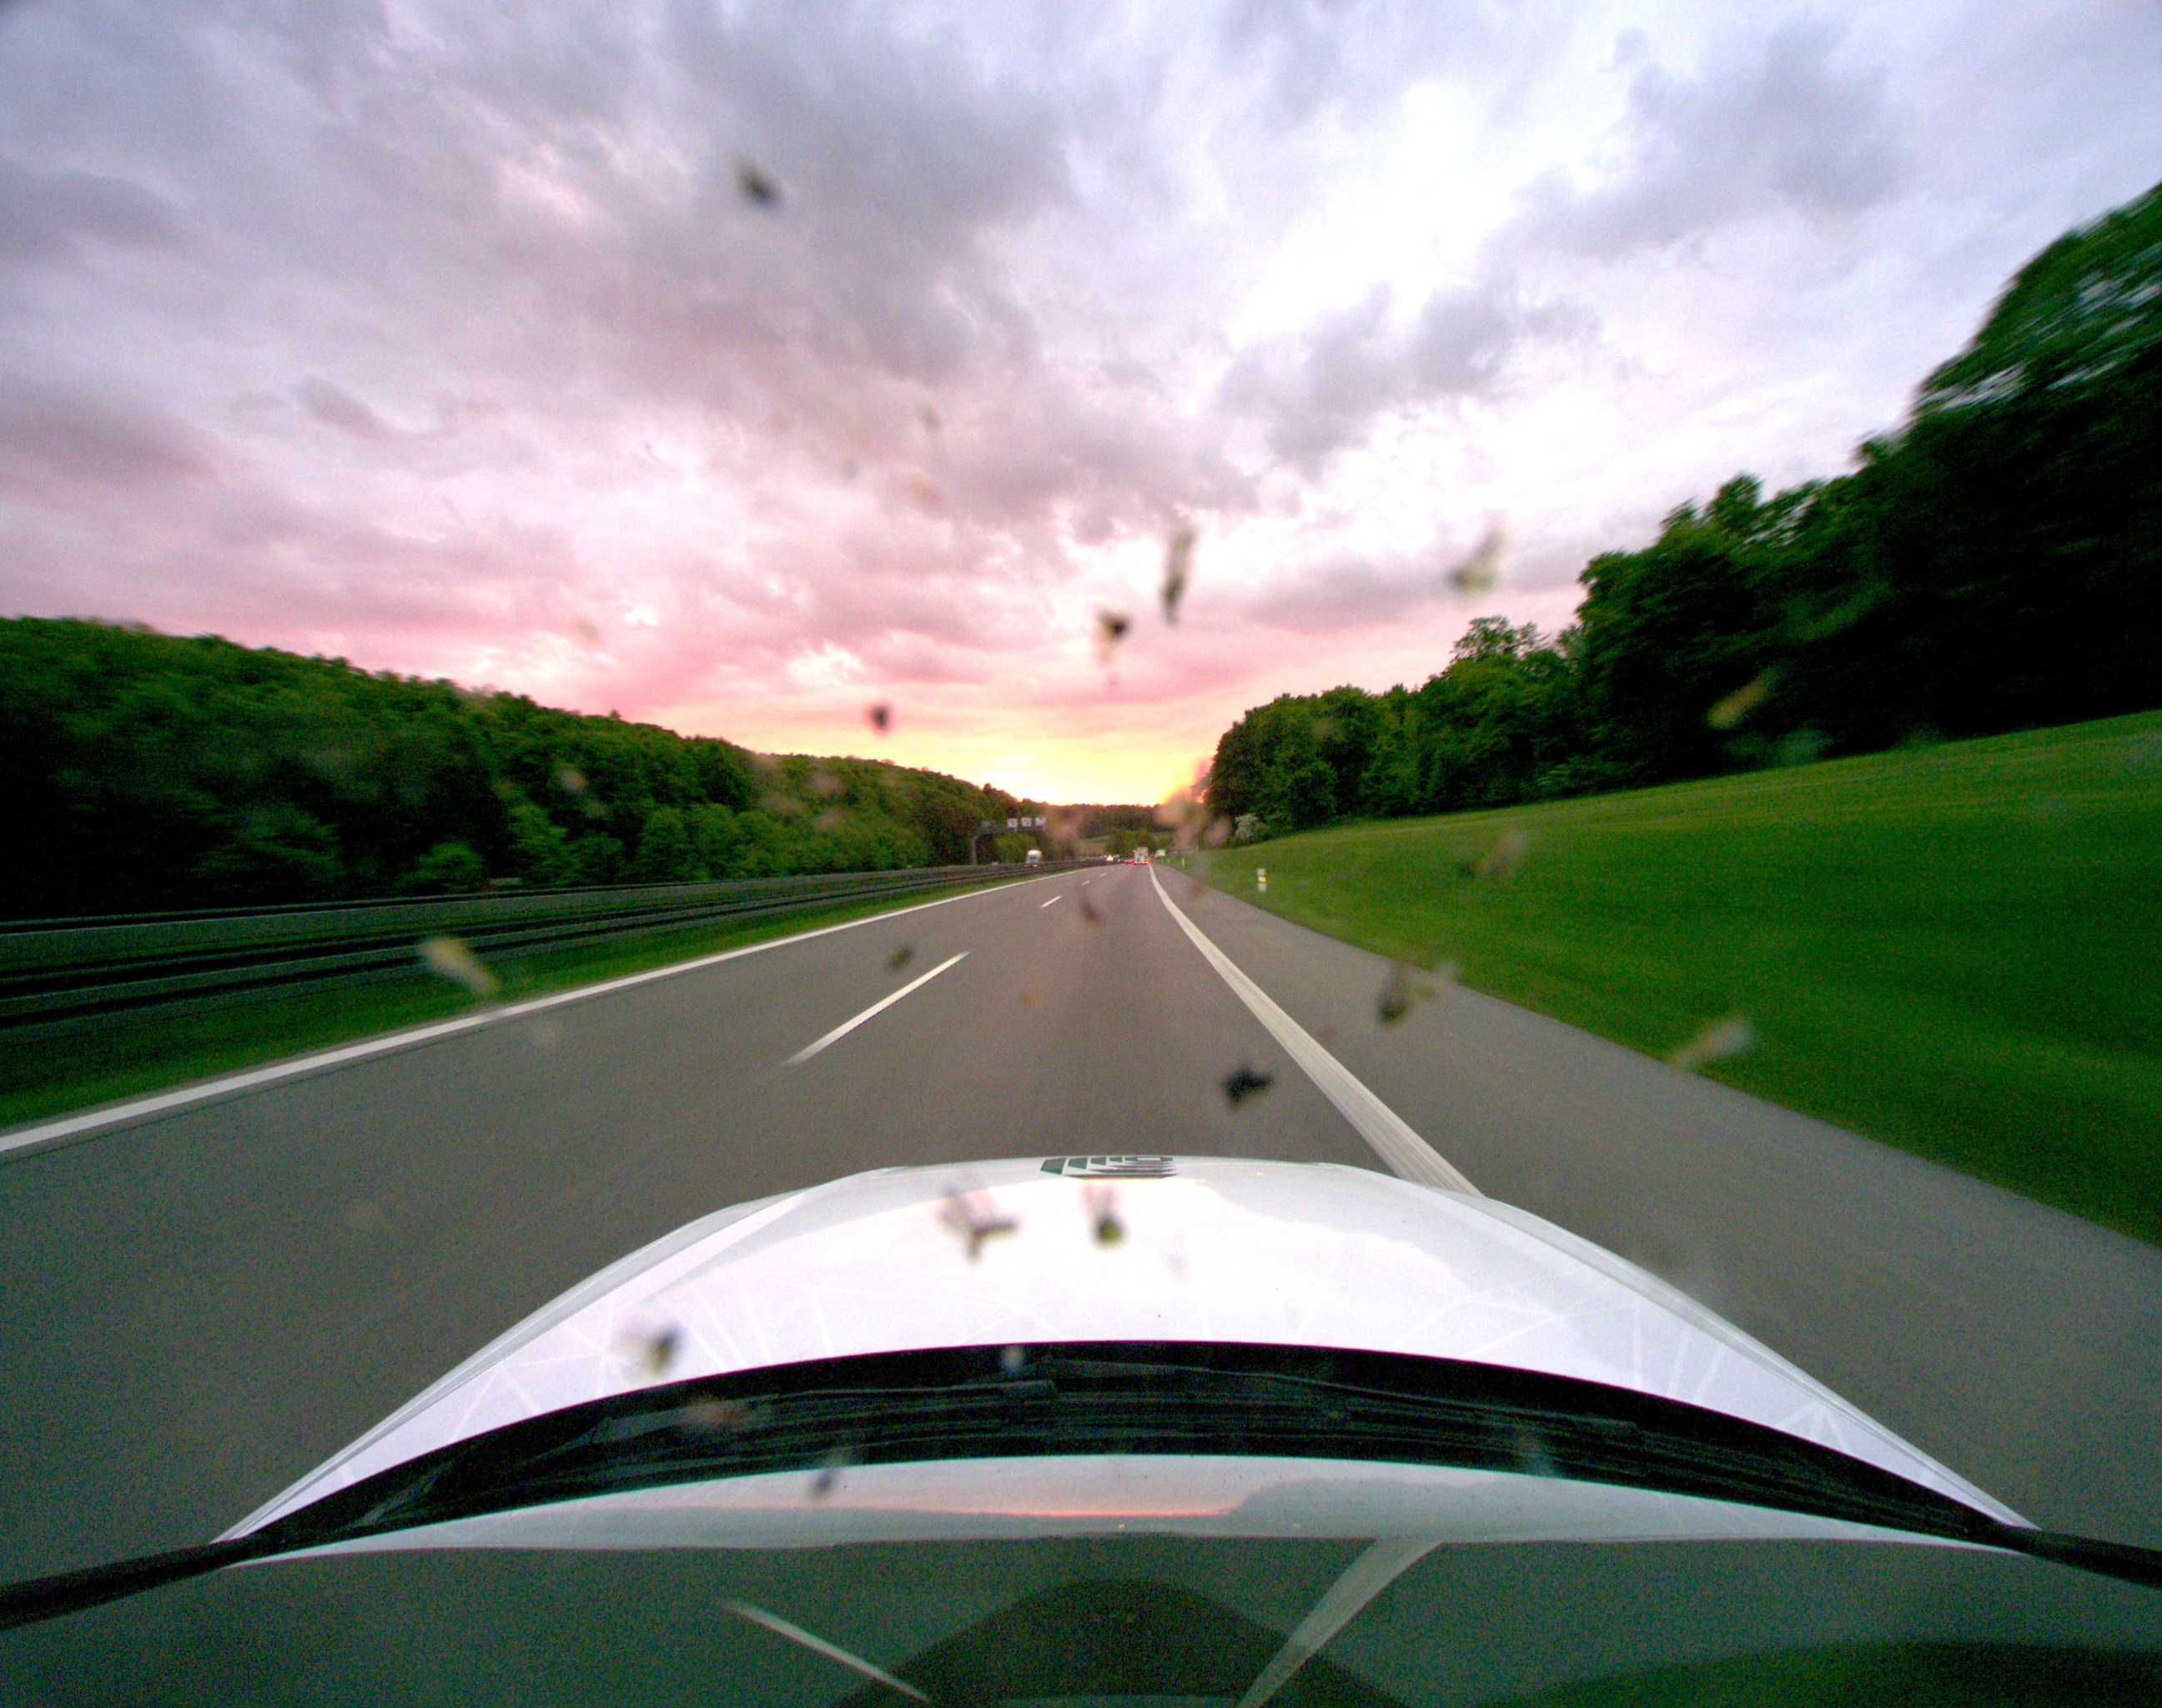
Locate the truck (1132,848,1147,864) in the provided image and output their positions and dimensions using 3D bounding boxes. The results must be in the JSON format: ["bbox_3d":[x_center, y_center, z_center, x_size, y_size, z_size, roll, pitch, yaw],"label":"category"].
[{"bbox_3d":[11.089,0.443,153.797,2.263,2.664,5.249,-3,2,8],"label":"truck"}]

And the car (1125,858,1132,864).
[{"bbox_3d":[13.372,1.990,228.132,1.985,1.517,4.004,-3,0,3],"label":"car"}]

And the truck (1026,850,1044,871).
[{"bbox_3d":[-6.964,0.940,124.334,1.984,3.067,5.601,-2,0,4],"label":"truck"}]

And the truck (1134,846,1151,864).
[{"bbox_3d":[15.491,0.215,204.624,3.940,4.286,14.340,-3,1,4],"label":"truck"}]
